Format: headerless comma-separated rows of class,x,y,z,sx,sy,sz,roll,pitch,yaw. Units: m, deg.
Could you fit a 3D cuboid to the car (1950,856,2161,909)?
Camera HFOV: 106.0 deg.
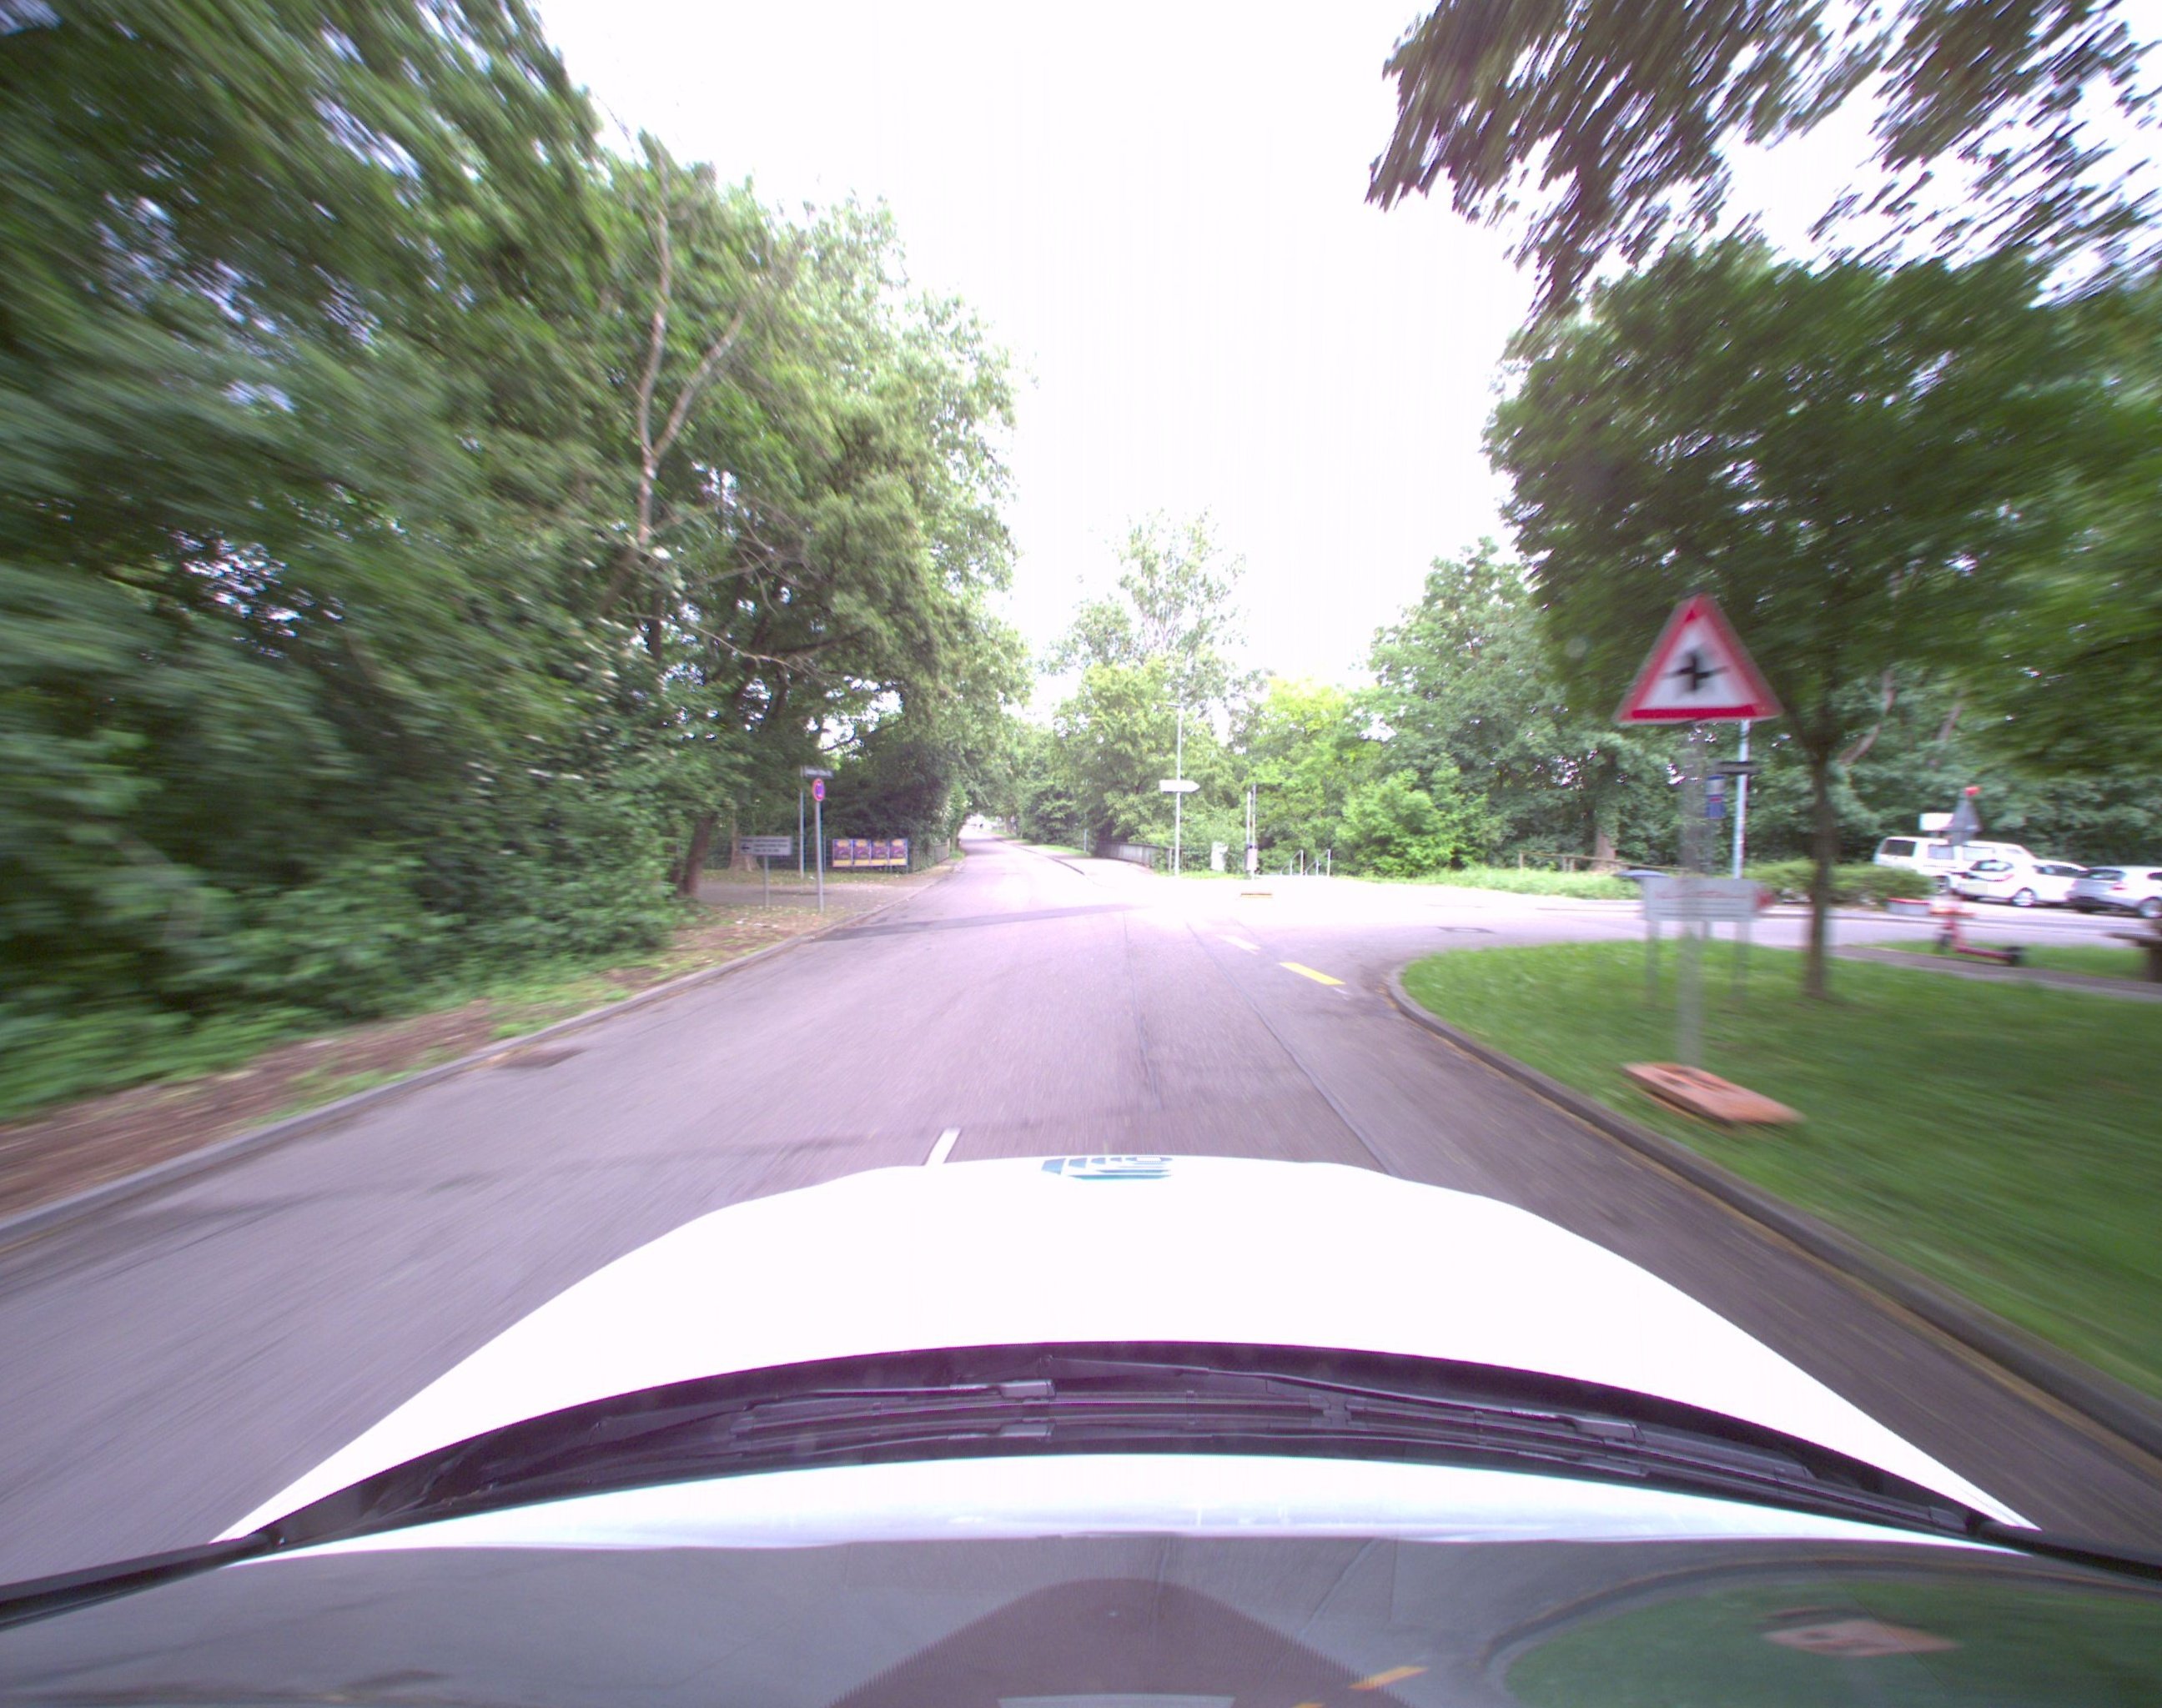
car,30.077,0.852,25.218,4.184,1.498,1.803,1,0,6

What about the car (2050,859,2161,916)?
car,30.284,0.918,22.667,4.184,1.498,1.803,1,0,6

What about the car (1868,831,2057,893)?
car,30.402,0.261,28.214,4.184,2.013,2.004,1,0,6

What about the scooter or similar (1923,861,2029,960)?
scooter or similar,12.347,0.749,11.270,0.281,1.286,1.109,1,0,4

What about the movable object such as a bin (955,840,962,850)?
movable object such as a bin,-11.442,-0.836,76.026,0.590,0.957,0.468,0,0,-9
